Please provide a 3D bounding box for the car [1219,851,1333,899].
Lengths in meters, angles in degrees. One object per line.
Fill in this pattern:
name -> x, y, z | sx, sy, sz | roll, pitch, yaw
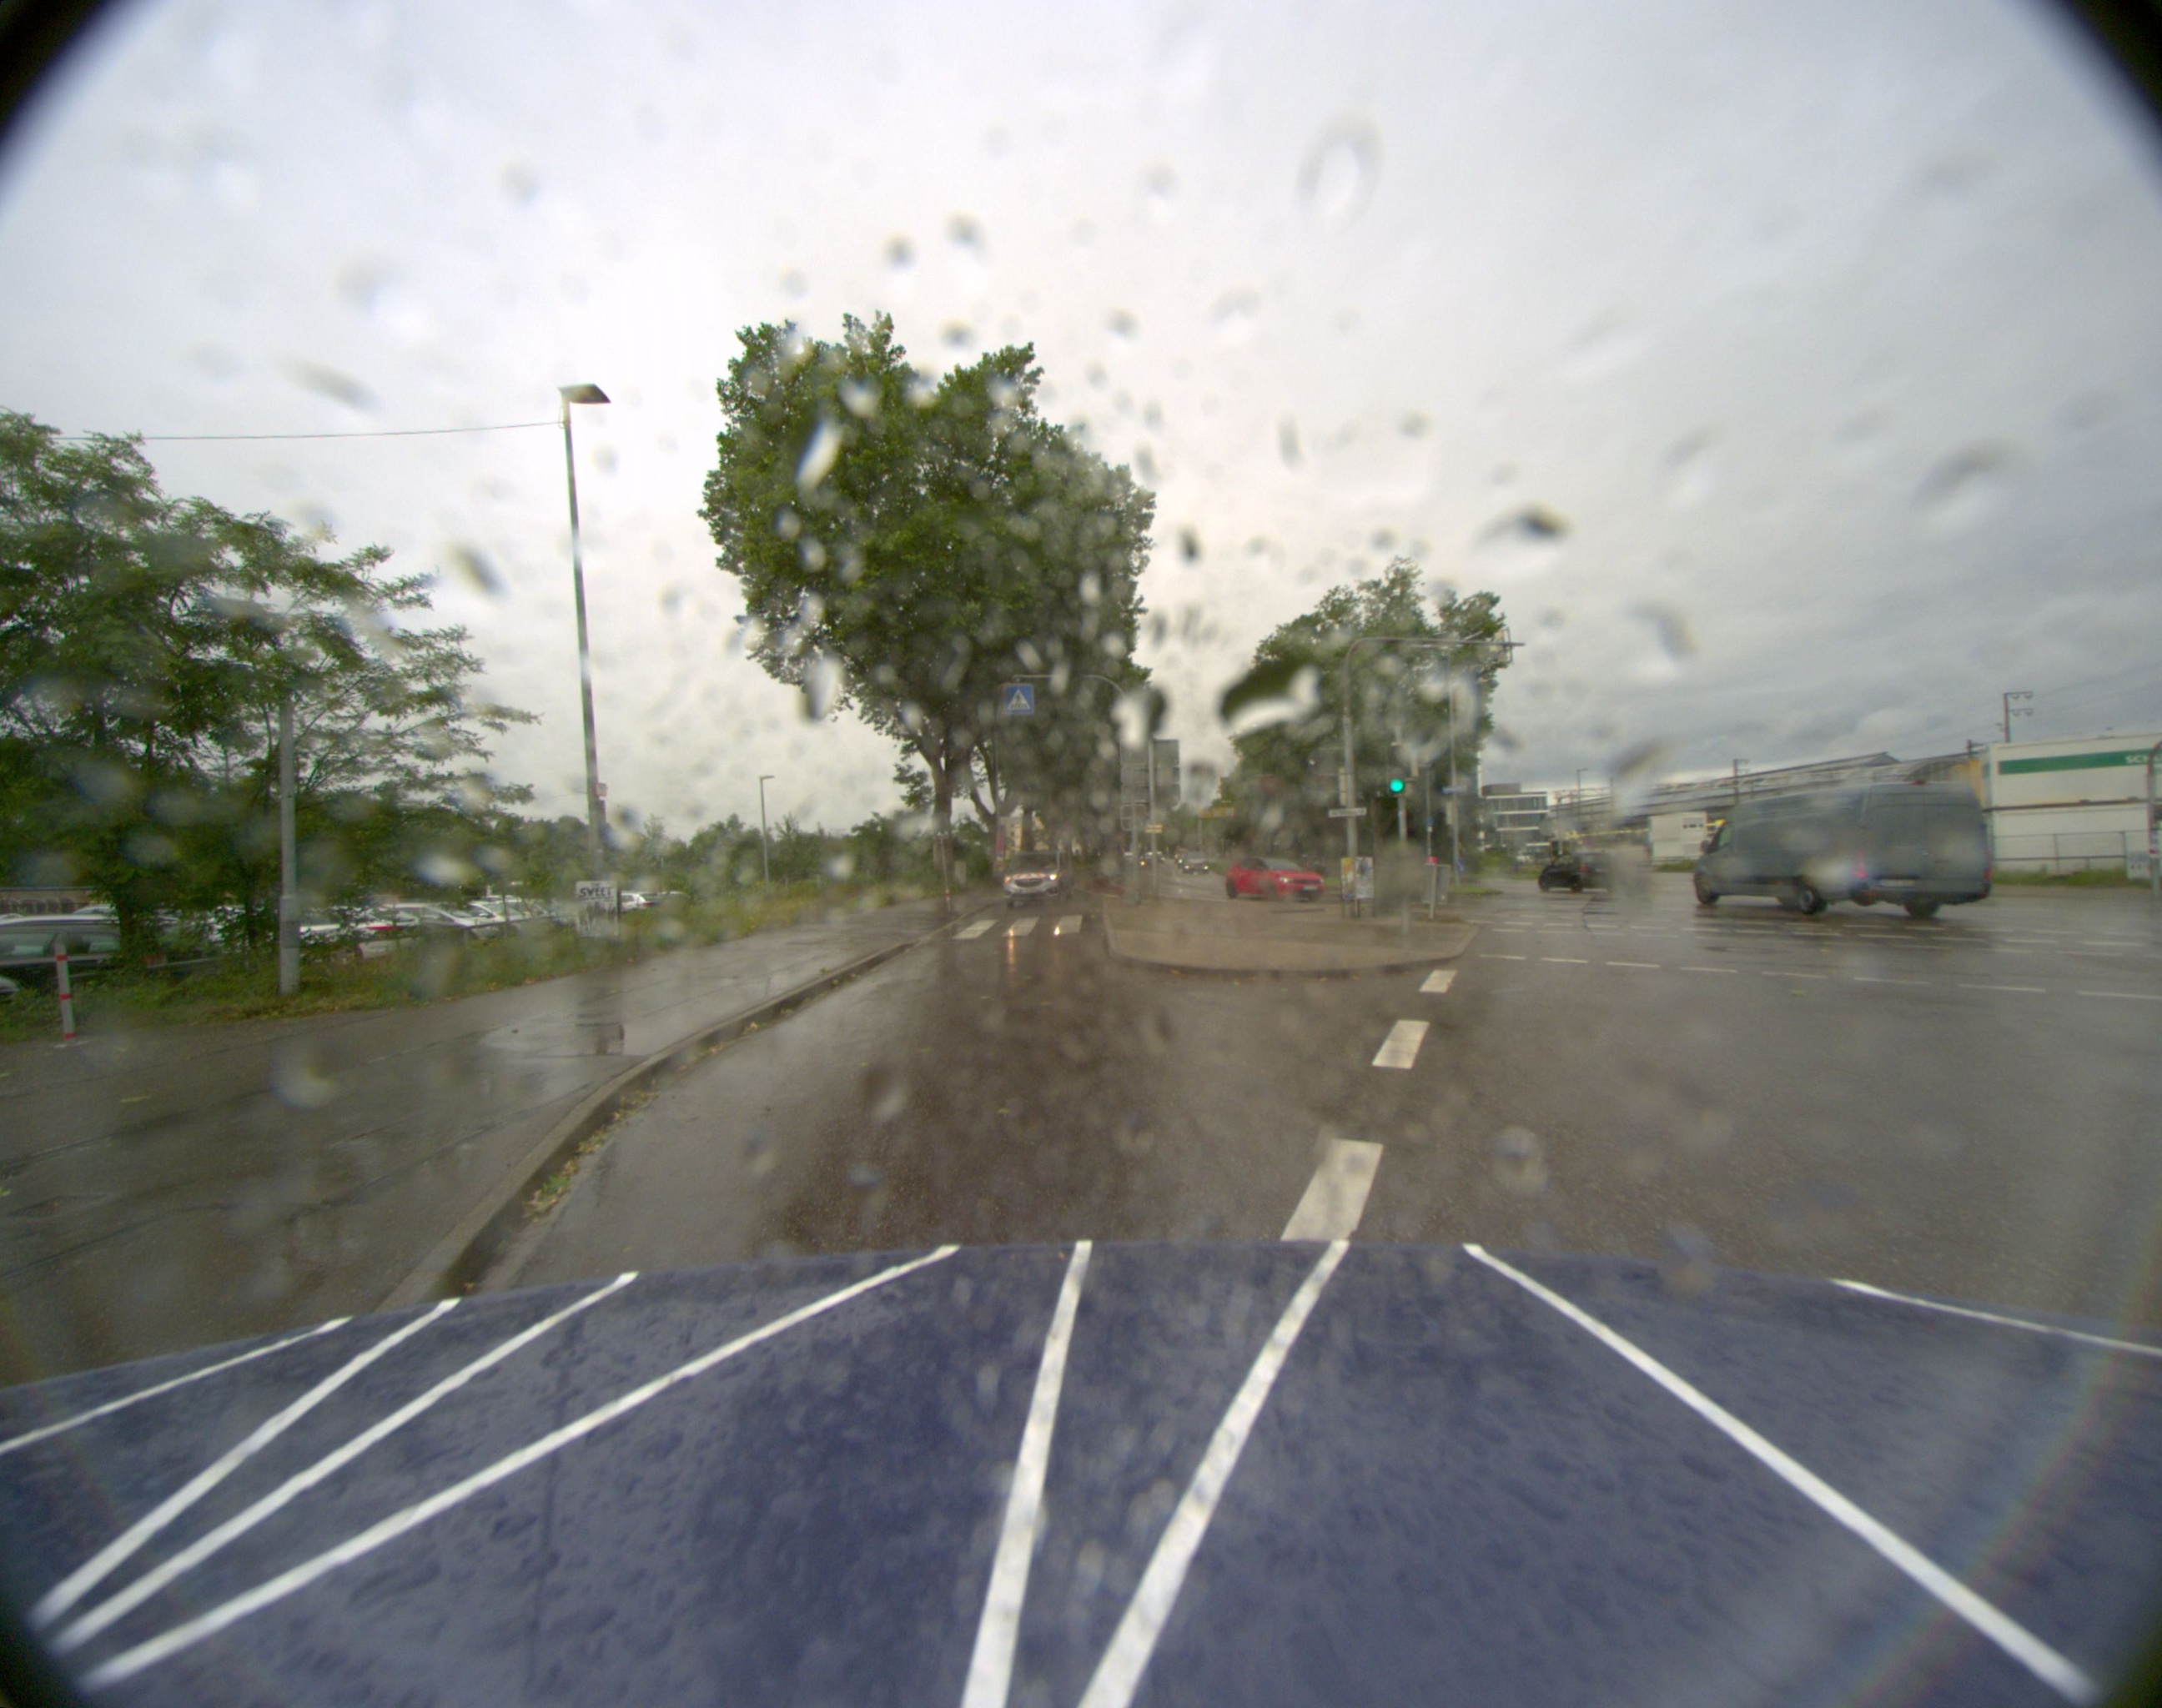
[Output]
car -> 6.356, 0.659, 25.228 | 1.746, 1.373, 3.994 | -2, 0, -18

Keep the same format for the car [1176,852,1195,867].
car -> 10.247, 0.557, 74.955 | 1.643, 1.346, 3.777 | -2, 0, 5

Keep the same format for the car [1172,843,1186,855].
car -> 13.489, -0.711, 104.846 | 1.852, 1.592, 4.503 | -1, -1, 7

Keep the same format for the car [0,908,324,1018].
car -> -16.510, 1.851, 13.421 | 4.004, 1.514, 1.873 | -1, 0, -21

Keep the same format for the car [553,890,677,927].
car -> -21.258, 2.450, 34.841 | 4.397, 1.421, 1.874 | -1, 0, -10

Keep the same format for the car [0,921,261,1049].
car -> -15.146, 1.892, 10.995 | 4.004, 1.494, 1.873 | -1, 0, -21

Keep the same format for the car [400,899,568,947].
car -> -22.191, 2.524, 28.471 | 4.551, 1.421, 1.873 | -1, 0, -20

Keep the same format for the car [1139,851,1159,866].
car -> 6.617, 0.469, 73.403 | 1.742, 1.437, 4.003 | -1, -1, 7

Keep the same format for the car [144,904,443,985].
car -> -18.735, 2.105, 18.395 | 4.650, 1.475, 1.873 | -1, 0, -20

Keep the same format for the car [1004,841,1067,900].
car -> -1.512, 0.503, 25.163 | 1.839, 1.714, 4.171 | -2, 0, -3

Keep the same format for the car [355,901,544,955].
car -> -21.575, 2.494, 26.188 | 4.549, 1.457, 2.001 | -1, 0, -15

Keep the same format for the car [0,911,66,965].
car -> -33.011, 2.517, 22.424 | 3.994, 1.465, 1.962 | -1, 0, 8

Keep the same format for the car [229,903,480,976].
car -> -19.553, 2.245, 20.740 | 4.551, 1.550, 1.873 | -1, 0, -20

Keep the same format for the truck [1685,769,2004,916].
truck -> 16.500, -0.183, 17.172 | 2.087, 2.604, 6.987 | -1, 0, 18

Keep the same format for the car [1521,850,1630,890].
car -> 18.731, 0.654, 28.971 | 1.649, 1.443, 3.531 | 0, -3, -4

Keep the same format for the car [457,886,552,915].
car -> -31.108, 2.509, 41.049 | 3.994, 1.367, 1.819 | -1, 0, 8

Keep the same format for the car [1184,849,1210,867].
car -> 8.920, 0.338, 58.752 | 1.743, 1.373, 4.002 | -1, -1, 5

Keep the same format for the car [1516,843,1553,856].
car -> 63.665, -0.621, 106.764 | 3.995, 1.599, 1.788 | -2, 0, 6

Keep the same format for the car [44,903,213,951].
car -> -32.765, 2.498, 26.190 | 3.994, 1.429, 1.819 | -1, 0, 8

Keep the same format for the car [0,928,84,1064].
car -> -14.375, 1.719, 8.227 | 4.004, 1.481, 1.702 | -1, 0, -21

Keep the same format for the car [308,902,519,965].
car -> -20.588, 2.417, 23.701 | 4.551, 1.550, 1.873 | -1, 0, -20

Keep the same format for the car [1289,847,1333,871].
car -> 16.913, 0.348, 56.044 | 1.999, 1.632, 4.000 | -1, 0, -1
